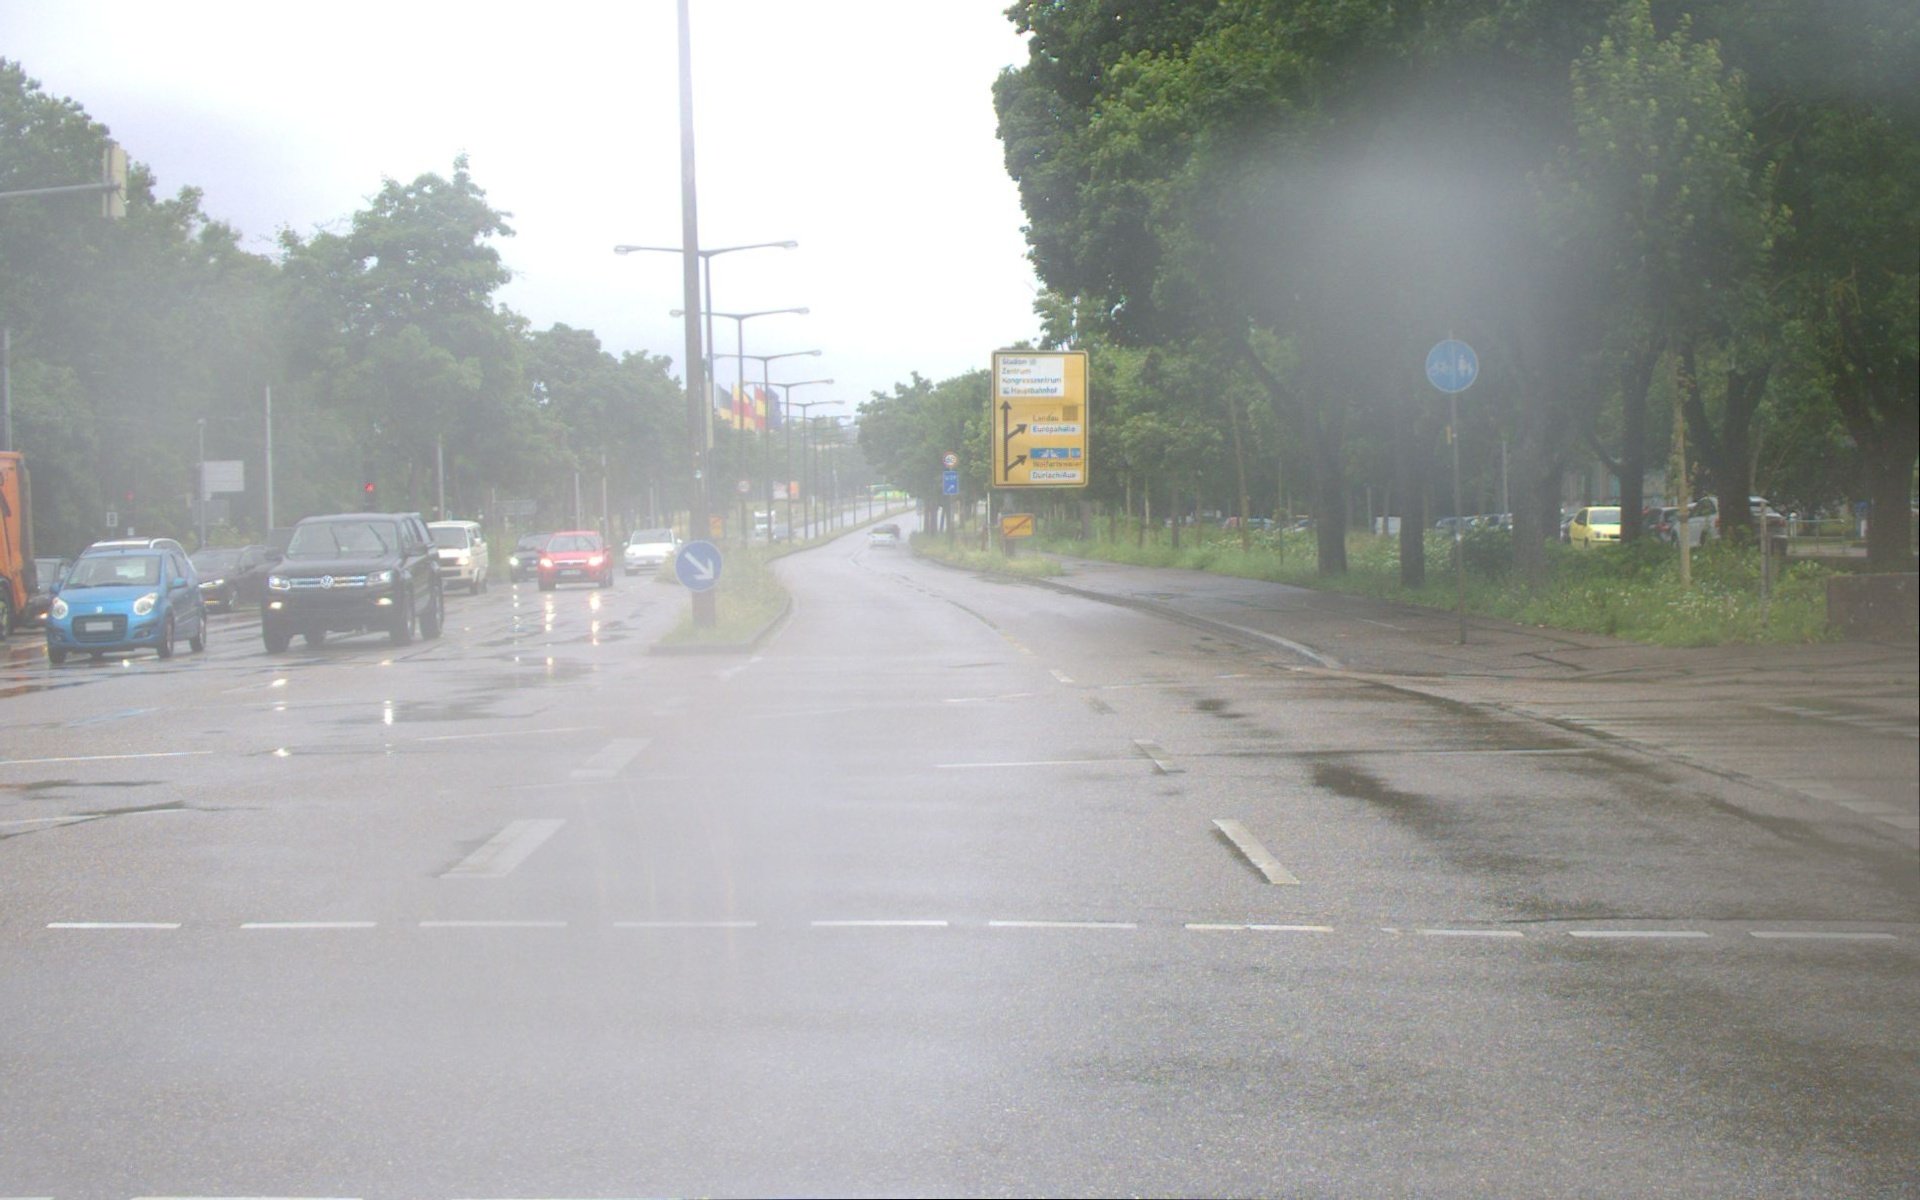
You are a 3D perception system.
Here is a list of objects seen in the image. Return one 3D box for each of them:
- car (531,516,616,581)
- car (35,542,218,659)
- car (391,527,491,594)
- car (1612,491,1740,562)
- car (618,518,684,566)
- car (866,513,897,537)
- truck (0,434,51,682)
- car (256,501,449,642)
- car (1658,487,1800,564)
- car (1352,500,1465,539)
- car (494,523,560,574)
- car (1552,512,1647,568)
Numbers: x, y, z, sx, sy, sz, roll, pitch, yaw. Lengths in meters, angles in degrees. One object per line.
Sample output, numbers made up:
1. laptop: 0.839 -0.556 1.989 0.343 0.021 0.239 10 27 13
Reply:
1. car: -10.064 -1.338 89.863 1.801 1.564 4.429 -3 1 -2
2. car: -11.208 -0.017 46.452 1.641 1.422 4.001 -3 1 -3
3. car: -13.198 -1.030 87.696 1.894 1.605 4.500 -1 1 -1
4. car: 18.121 -1.846 87.199 1.993 1.711 4.642 -2 1 -3
5. car: -10.967 -2.083 122.257 1.961 1.611 4.698 -2 1 -1
6. car: -5.045 -4.824 222.063 1.907 1.509 4.000 -1 1 -1
7. truck: -17.752 -0.693 55.905 3.385 4.153 10.407 1 1 -1
8. car: -8.301 -0.429 47.399 1.805 1.767 5.090 -2 1 -1
9. car: 18.233 -1.759 81.744 1.993 1.711 4.879 -2 1 -3
10. car: 19.806 -3.536 151.832 4.568 1.639 2.000 1 1 -6
11. car: -14.885 -1.799 118.344 1.707 1.636 4.331 -3 1 -1
12. car: 17.653 -1.653 95.104 1.637 1.481 4.073 1 1 -3
